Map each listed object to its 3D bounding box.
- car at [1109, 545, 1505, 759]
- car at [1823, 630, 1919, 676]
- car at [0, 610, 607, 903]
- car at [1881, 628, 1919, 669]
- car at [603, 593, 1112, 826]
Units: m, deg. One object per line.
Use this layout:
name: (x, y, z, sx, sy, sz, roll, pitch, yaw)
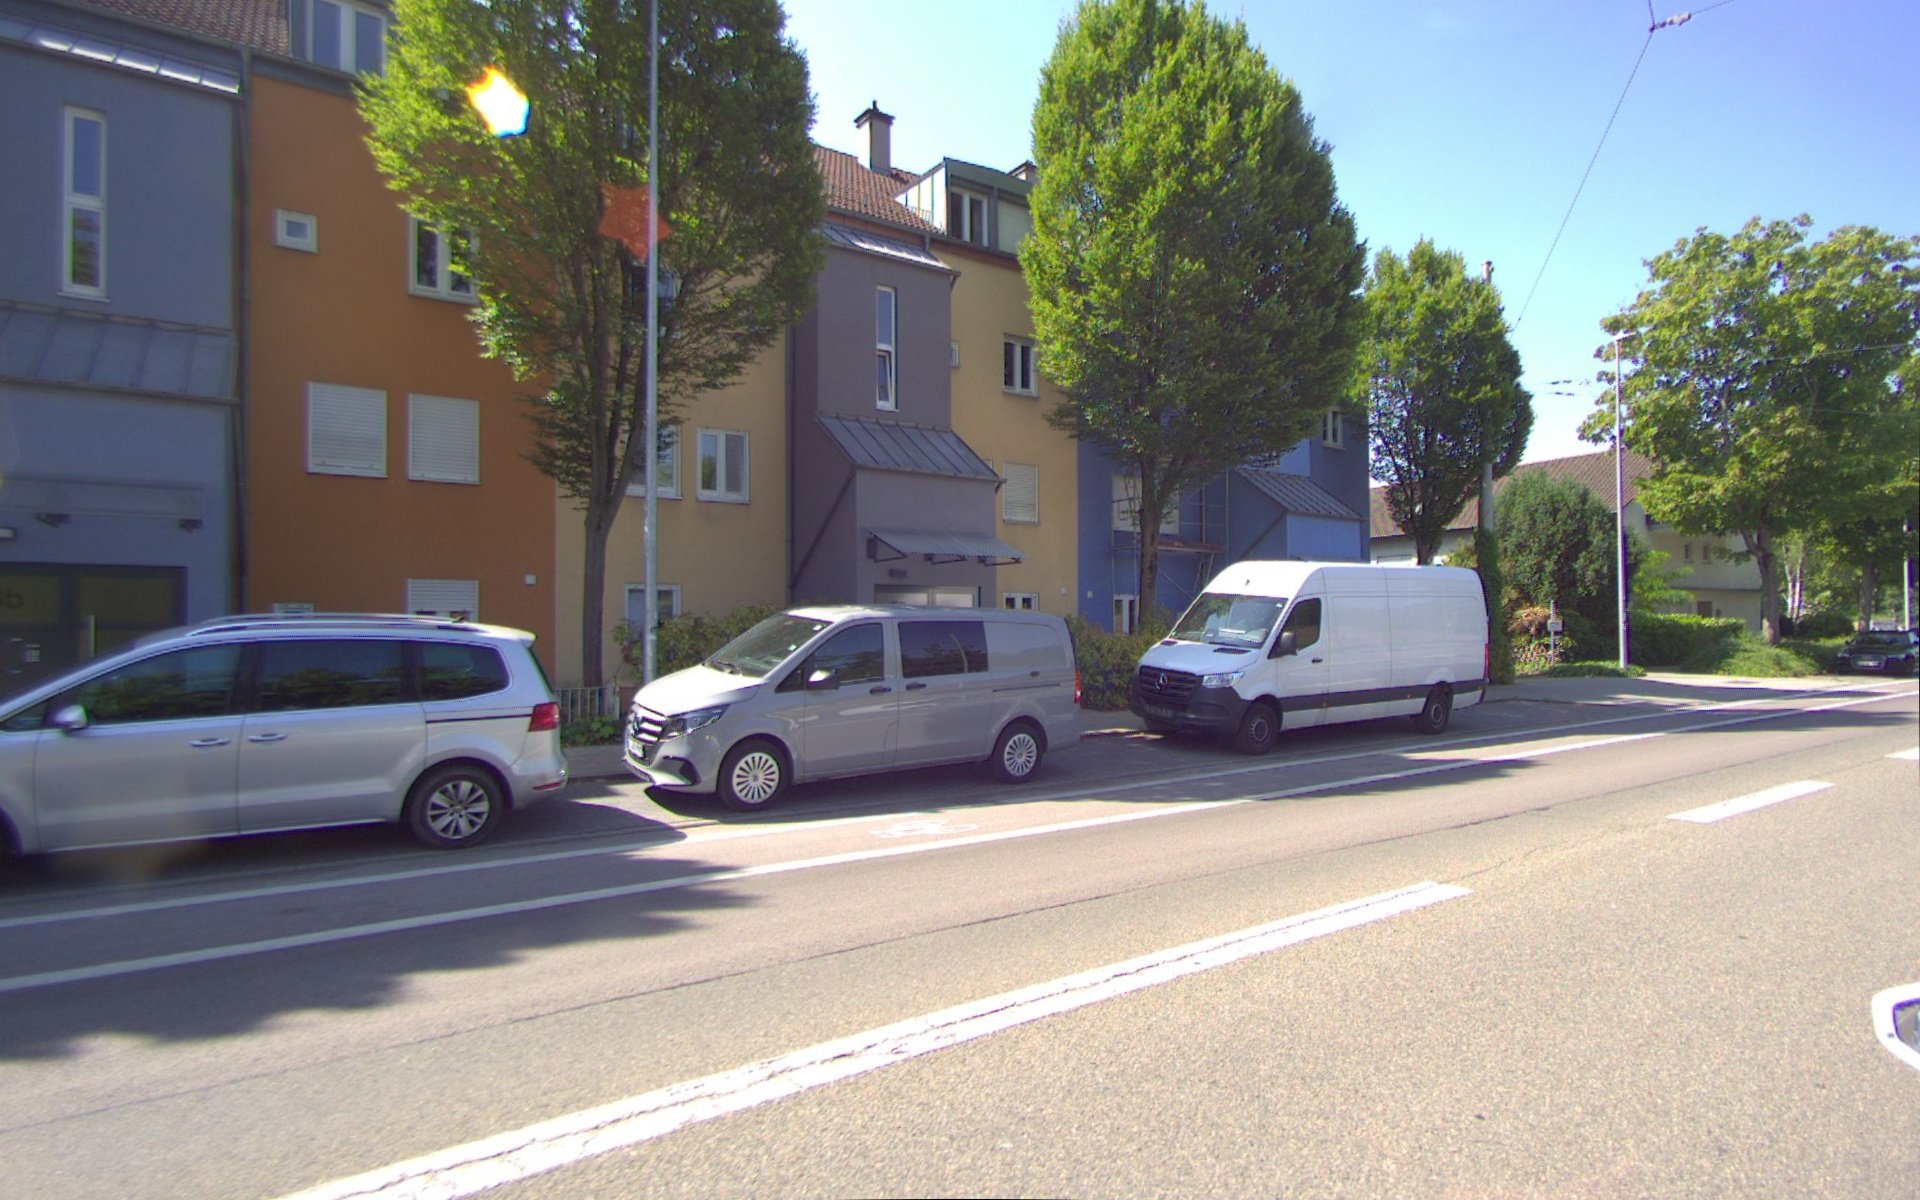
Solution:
car: (5.657, 0.705, 15.710, 7.083, 2.750, 1.982, 1, 1, -34)
car: (30.338, 1.714, 33.181, 3.955, 1.435, 1.691, 1, -2, -32)
car: (-5.415, 0.998, 7.637, 4.859, 1.748, 1.789, 1, 1, -35)
car: (36.292, 1.791, 37.607, 3.955, 1.501, 1.691, 1, -2, -32)
car: (-0.932, 0.990, 11.021, 5.302, 1.974, 1.906, 1, 1, -36)
